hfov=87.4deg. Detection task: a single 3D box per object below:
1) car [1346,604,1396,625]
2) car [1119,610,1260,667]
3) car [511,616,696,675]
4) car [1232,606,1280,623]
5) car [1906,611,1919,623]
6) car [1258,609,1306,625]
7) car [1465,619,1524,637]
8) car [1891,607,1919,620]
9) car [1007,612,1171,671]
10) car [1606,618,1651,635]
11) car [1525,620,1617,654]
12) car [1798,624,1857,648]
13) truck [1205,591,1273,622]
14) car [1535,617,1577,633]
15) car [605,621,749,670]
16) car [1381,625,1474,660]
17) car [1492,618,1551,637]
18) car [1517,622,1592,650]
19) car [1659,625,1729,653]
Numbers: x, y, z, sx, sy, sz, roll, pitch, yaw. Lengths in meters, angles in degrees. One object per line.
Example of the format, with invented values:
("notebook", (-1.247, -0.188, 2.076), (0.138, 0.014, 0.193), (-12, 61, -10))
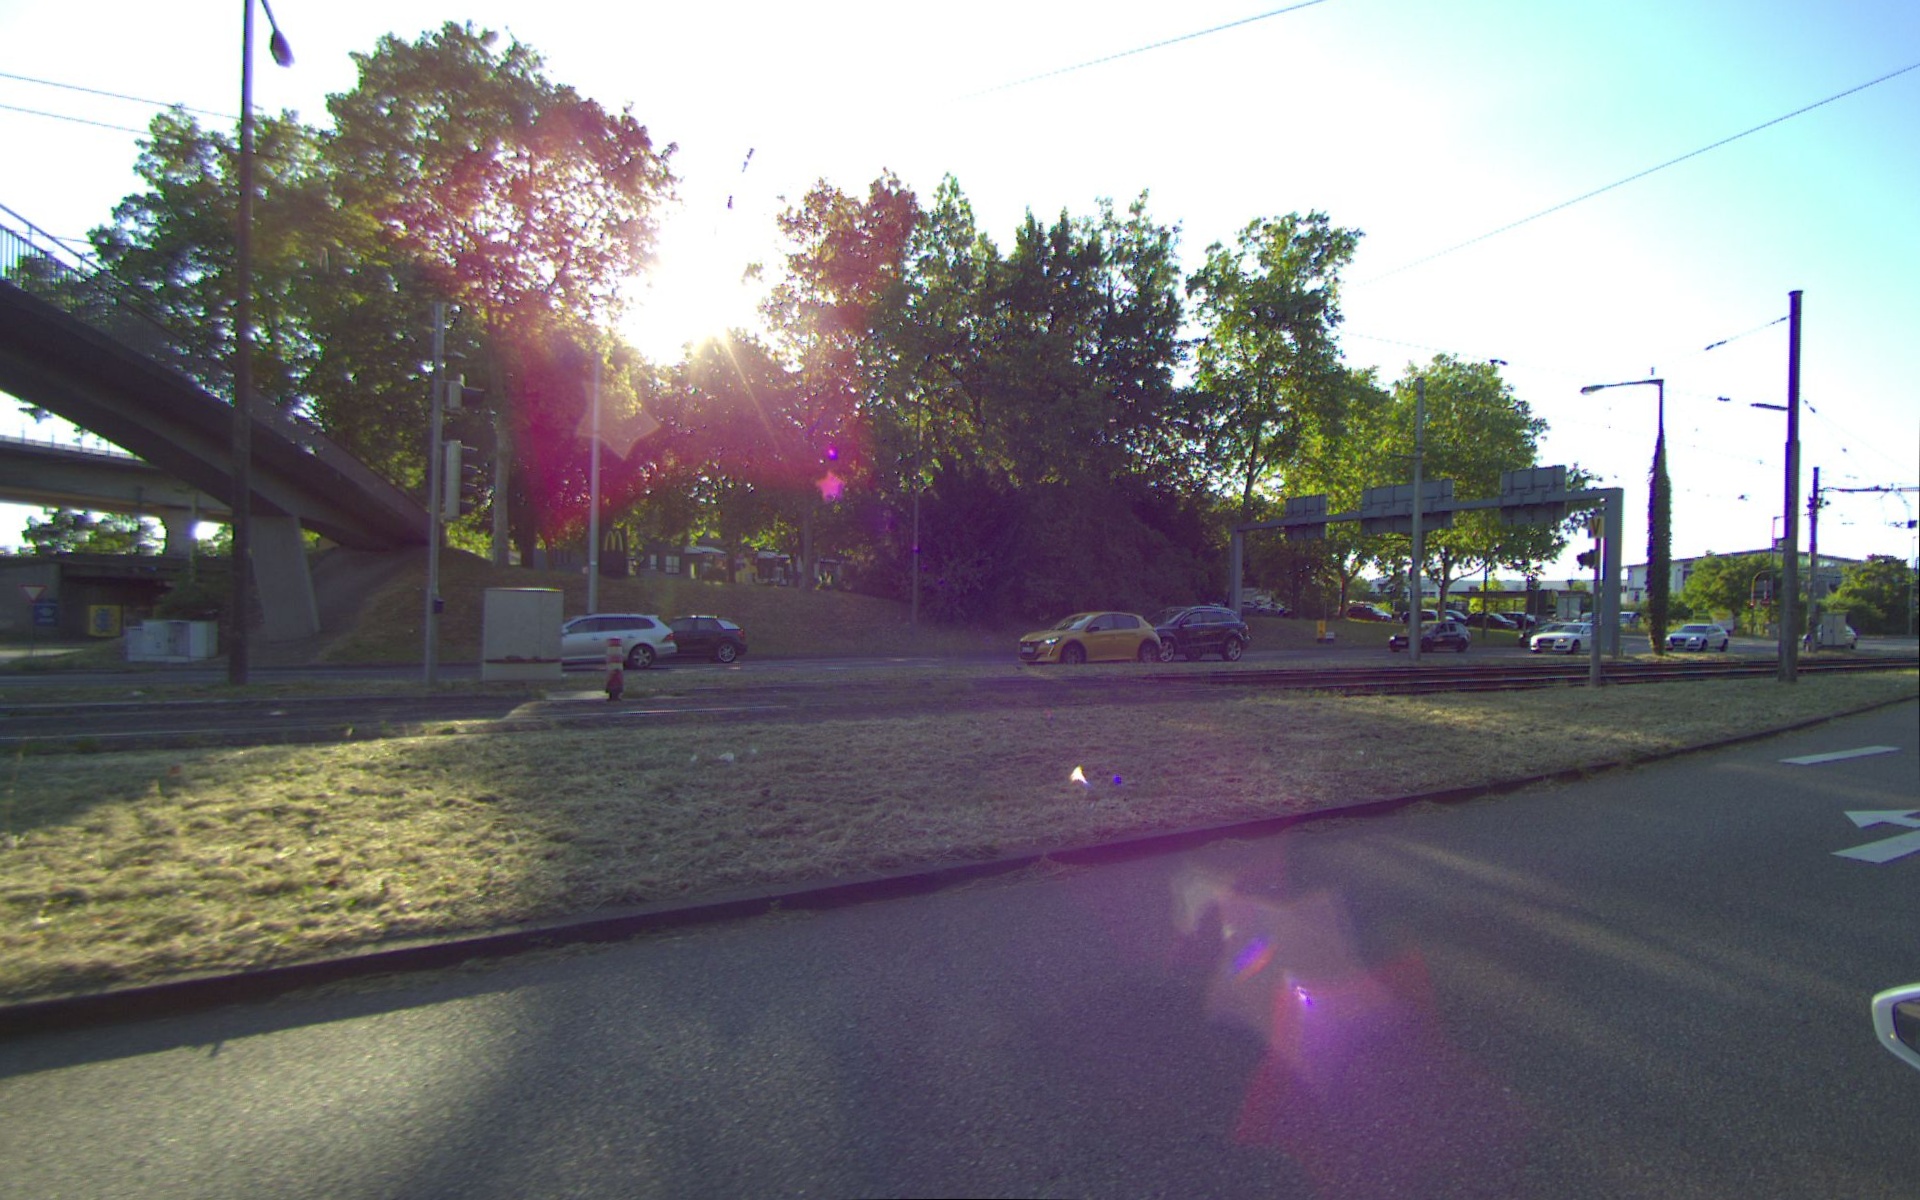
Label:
("car", (38.048, 1.315, 93.100), (1.975, 1.884, 3.971), (1, -1, -28))
("car", (7.408, 1.206, 32.258), (4.385, 1.677, 1.829), (1, 0, -31))
("car", (-9.454, 1.186, 26.769), (4.390, 1.434, 1.677), (2, -1, -33))
("car", (25.973, 1.237, 88.225), (1.655, 1.390, 3.964), (1, 0, -33))
("car", (118.461, 2.125, 123.326), (1.441, 1.410, 3.122), (1, 0, -35))
("car", (28.754, 1.524, 89.881), (1.655, 1.277, 3.964), (1, 0, -33))
("car", (44.129, 2.295, 83.010), (1.760, 1.405, 4.043), (1, 0, -25))
("car", (105.241, 1.535, 111.076), (1.441, 1.410, 3.122), (1, 0, -35))
("car", (3.387, 1.075, 26.178), (3.972, 1.434, 1.829), (2, -1, -30))
("car", (61.499, 2.447, 92.368), (3.951, 1.461, 1.833), (1, 0, -29))
("car", (27.639, 1.650, 45.412), (4.551, 1.434, 1.827), (1, -1, -34))
("car", (53.808, 2.228, 62.280), (4.211, 1.434, 1.644), (1, -1, -32))
("truck", (33.006, 0.732, 119.094), (2.702, 3.433, 8.249), (1, 0, -30))
("car", (58.051, 2.473, 97.836), (3.951, 1.461, 1.833), (1, 0, -29))
("car", (-8.882, 1.419, 31.563), (4.134, 1.434, 1.682), (2, -1, -24))
("car", (21.634, 1.953, 46.428), (4.388, 1.501, 1.828), (1, 0, -33))
("car", (47.108, 2.280, 84.349), (1.760, 1.405, 4.043), (1, 0, -25))
("car", (34.092, 2.064, 57.591), (4.550, 1.501, 1.828), (1, 0, -33))
("car", (38.819, 2.047, 53.111), (4.213, 1.434, 1.643), (1, -1, -34))
